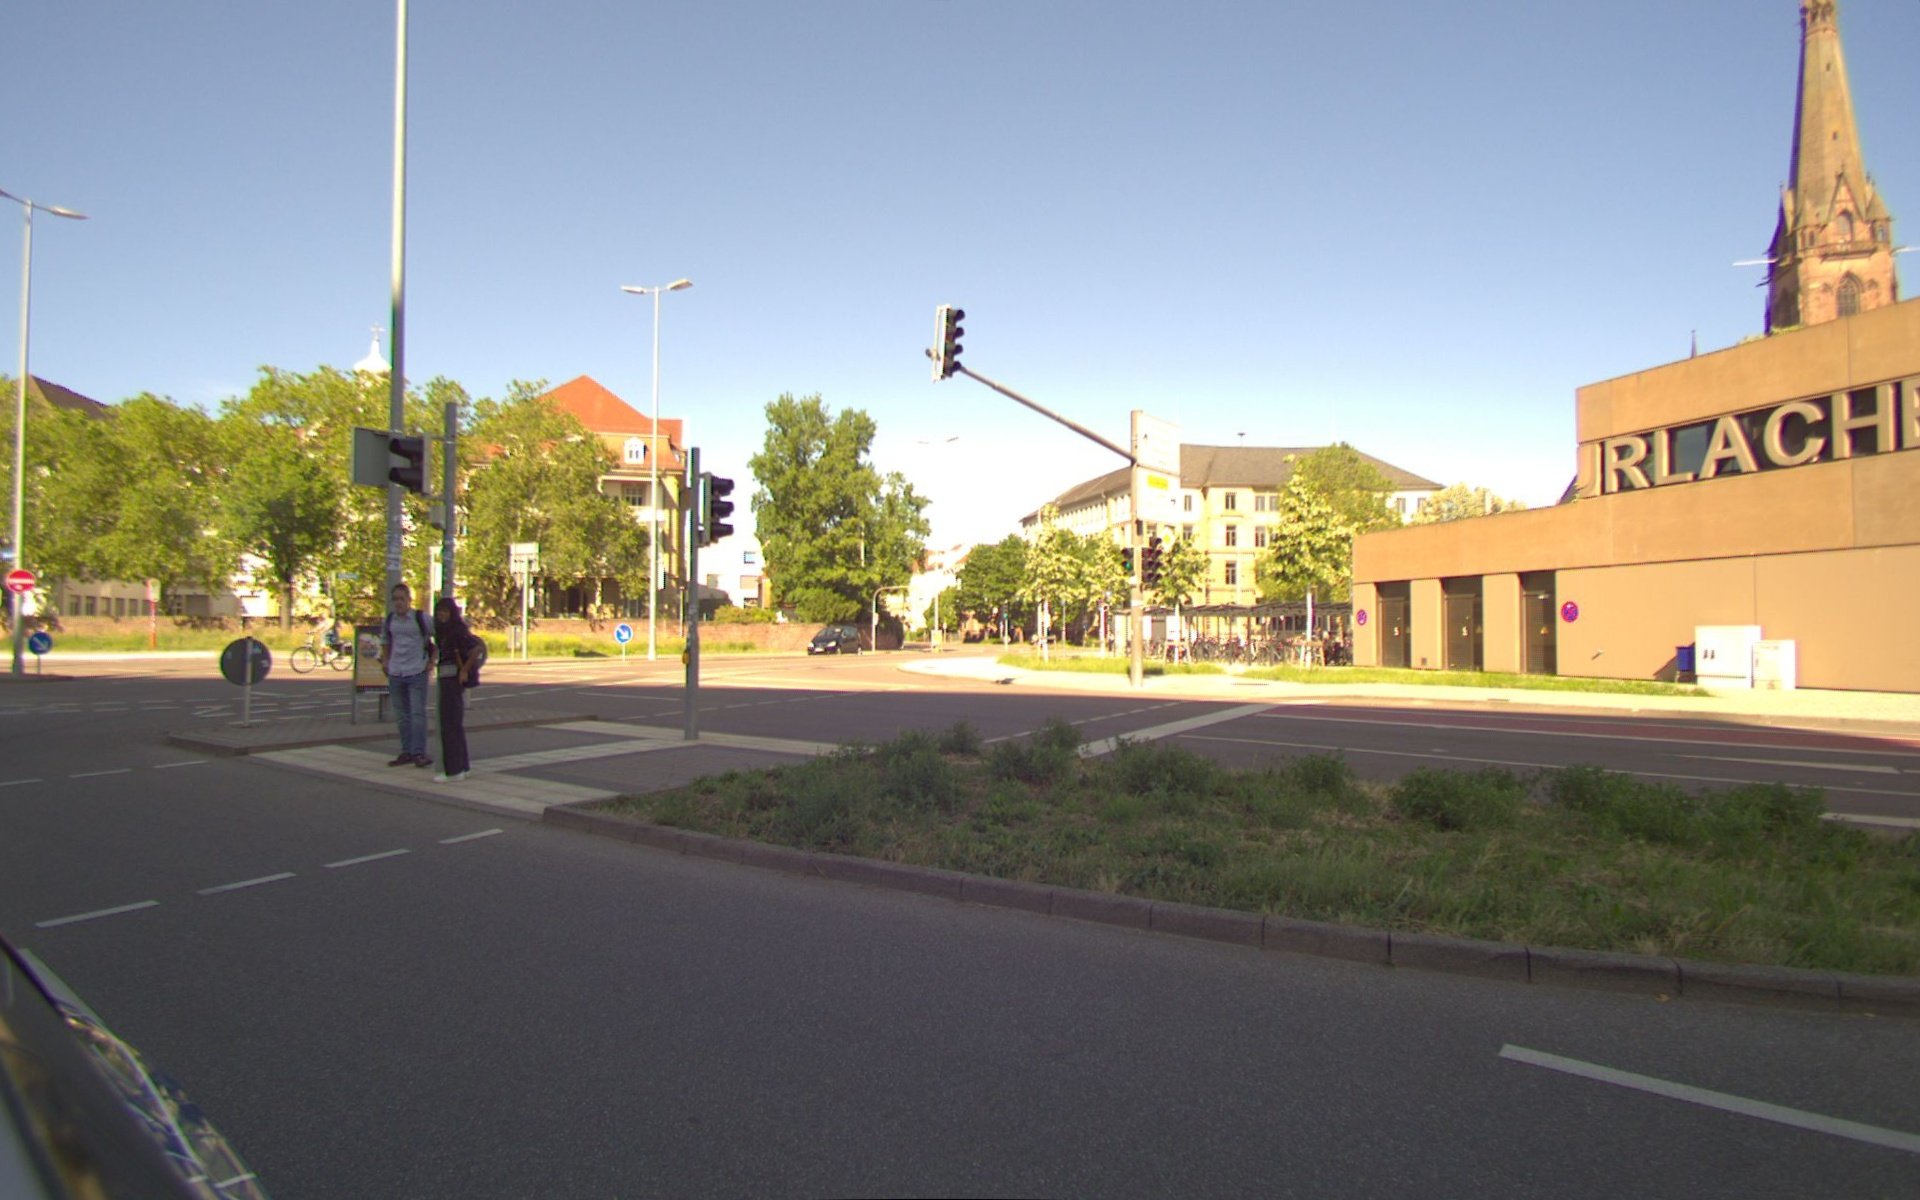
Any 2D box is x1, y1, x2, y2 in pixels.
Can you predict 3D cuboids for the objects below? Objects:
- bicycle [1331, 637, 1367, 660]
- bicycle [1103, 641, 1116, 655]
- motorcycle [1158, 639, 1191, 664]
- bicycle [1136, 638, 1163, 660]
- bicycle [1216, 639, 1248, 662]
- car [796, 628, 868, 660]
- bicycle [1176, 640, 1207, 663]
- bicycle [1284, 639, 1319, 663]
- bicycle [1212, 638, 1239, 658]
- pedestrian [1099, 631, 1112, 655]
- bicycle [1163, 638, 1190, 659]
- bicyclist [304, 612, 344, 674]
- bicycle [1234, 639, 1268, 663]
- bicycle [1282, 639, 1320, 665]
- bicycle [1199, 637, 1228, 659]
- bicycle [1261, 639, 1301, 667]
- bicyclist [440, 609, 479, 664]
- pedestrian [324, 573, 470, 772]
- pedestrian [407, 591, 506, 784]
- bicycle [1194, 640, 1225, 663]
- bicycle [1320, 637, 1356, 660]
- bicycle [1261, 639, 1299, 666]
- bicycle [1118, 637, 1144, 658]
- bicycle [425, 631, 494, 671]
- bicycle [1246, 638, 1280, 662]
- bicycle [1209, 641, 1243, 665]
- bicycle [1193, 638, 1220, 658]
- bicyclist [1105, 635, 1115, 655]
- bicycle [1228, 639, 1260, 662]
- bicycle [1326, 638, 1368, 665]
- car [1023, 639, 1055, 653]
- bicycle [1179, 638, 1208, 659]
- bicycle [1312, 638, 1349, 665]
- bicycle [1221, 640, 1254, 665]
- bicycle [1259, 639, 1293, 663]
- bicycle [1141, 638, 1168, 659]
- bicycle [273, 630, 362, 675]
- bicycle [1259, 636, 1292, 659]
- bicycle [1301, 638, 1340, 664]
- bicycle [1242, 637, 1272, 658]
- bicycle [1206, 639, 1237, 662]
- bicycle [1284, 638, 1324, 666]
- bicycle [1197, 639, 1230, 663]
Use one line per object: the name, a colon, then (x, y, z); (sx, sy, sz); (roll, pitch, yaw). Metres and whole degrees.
bicycle: (18.331, 2.271, 47.736); (0.558, 1.046, 1.793); (2, -2, -18)
bicycle: (12.613, 4.010, 85.162); (0.742, 1.174, 1.858); (0, -2, 19)
motorcycle: (9.654, 2.311, 45.610); (0.585, 1.128, 1.990); (0, -2, -14)
bicycle: (9.574, 2.457, 51.165); (0.558, 1.046, 1.793); (2, -2, -18)
bicycle: (12.975, 2.404, 48.365); (0.558, 1.046, 1.793); (2, -2, -18)
car: (-6.564, 2.252, 52.182); (1.984, 1.484, 4.270); (-3, -3, 19)
bicycle: (10.788, 2.406, 47.291); (0.558, 1.046, 1.793); (2, -2, -18)
bicycle: (15.851, 2.344, 46.955); (0.558, 1.046, 1.793); (2, -2, -18)
bicycle: (14.397, 2.599, 54.918); (0.558, 1.046, 1.793); (2, -2, -18)
pedestrian: (10.490, 3.074, 72.891); (0.785, 1.694, 0.643); (-3, -3, 21)
bicycle: (11.514, 2.570, 53.934); (0.558, 1.046, 1.793); (2, -2, -18)
bicyclist: (-17.491, 1.185, 27.838); (0.642, 1.675, 0.766); (-3, -3, 39)
bicycle: (13.255, 2.333, 46.162); (0.558, 1.046, 1.793); (2, -2, -18)
bicycle: (14.487, 2.186, 43.059); (0.558, 1.046, 1.793); (2, -2, -18)
bicycle: (13.082, 2.468, 52.226); (0.558, 1.046, 1.793); (2, -2, -18)
bicycle: (12.769, 2.095, 40.281); (0.558, 1.046, 1.793); (2, -2, -18)
bicyclist: (-15.502, 1.144, 31.353); (0.779, 1.675, 0.771); (-2, -2, 19)
pedestrian: (-5.547, 0.688, 10.037); (0.748, 1.846, 1.092); (-1, -1, 11)
pedestrian: (-4.500, 0.749, 9.034); (0.670, 1.624, 0.721); (1, -2, -36)
bicycle: (11.803, 2.426, 47.881); (0.558, 1.046, 1.793); (2, -2, -18)
bicycle: (17.734, 2.273, 47.541); (0.558, 1.046, 1.793); (2, -2, -18)
bicycle: (13.394, 2.186, 42.377); (0.558, 1.046, 1.793); (2, -2, -18)
bicycle: (8.963, 2.499, 53.098); (0.558, 1.046, 1.793); (2, -2, -18)
bicycle: (-15.488, 1.575, 31.359); (0.773, 1.174, 1.955); (-2, -3, 19)
bicycle: (13.852, 2.296, 46.357); (0.558, 1.046, 1.793); (2, -2, -18)
bicycle: (12.005, 2.388, 45.719); (0.558, 1.046, 1.793); (2, -2, -18)
bicycle: (13.278, 2.578, 54.549); (0.558, 1.046, 1.793); (2, -2, -18)
bicyclist: (12.642, 3.786, 85.240); (0.716, 1.633, 0.971); (0, -2, 19)
bicycle: (13.612, 2.409, 48.552); (0.558, 1.046, 1.793); (2, -2, -18)
bicycle: (15.587, 2.069, 40.781); (0.558, 1.046, 1.793); (2, -2, -18)
car: (10.732, 6.271, 137.705); (3.735, 1.830, 2.006); (1, -3, -28)
bicycle: (11.947, 2.469, 51.845); (0.558, 1.046, 1.793); (2, -2, -18)
bicycle: (14.861, 2.068, 40.612); (0.559, 1.046, 1.792); (1, -2, -11)
bicycle: (12.568, 2.375, 45.908); (0.558, 1.046, 1.793); (2, -2, -18)
bicycle: (14.505, 2.341, 46.541); (0.558, 1.046, 1.793); (2, -2, -18)
bicycle: (10.282, 2.562, 53.523); (0.558, 1.046, 1.793); (2, -2, -18)
bicycle: (-17.586, 1.424, 27.730); (0.642, 1.174, 1.942); (-3, -4, 39)
bicycle: (15.299, 2.303, 49.131); (0.558, 1.046, 1.793); (2, -2, -18)
bicycle: (15.429, 2.163, 43.340); (0.558, 1.046, 1.793); (2, -2, -18)
bicycle: (15.516, 2.462, 52.929); (0.558, 1.046, 1.793); (2, -2, -18)
bicycle: (12.409, 2.411, 48.111); (0.558, 1.046, 1.793); (2, -2, -18)
bicycle: (13.713, 2.072, 40.396); (0.558, 1.046, 1.793); (2, -2, -18)
bicycle: (11.382, 2.278, 45.530); (0.558, 1.046, 1.793); (2, -2, -18)
